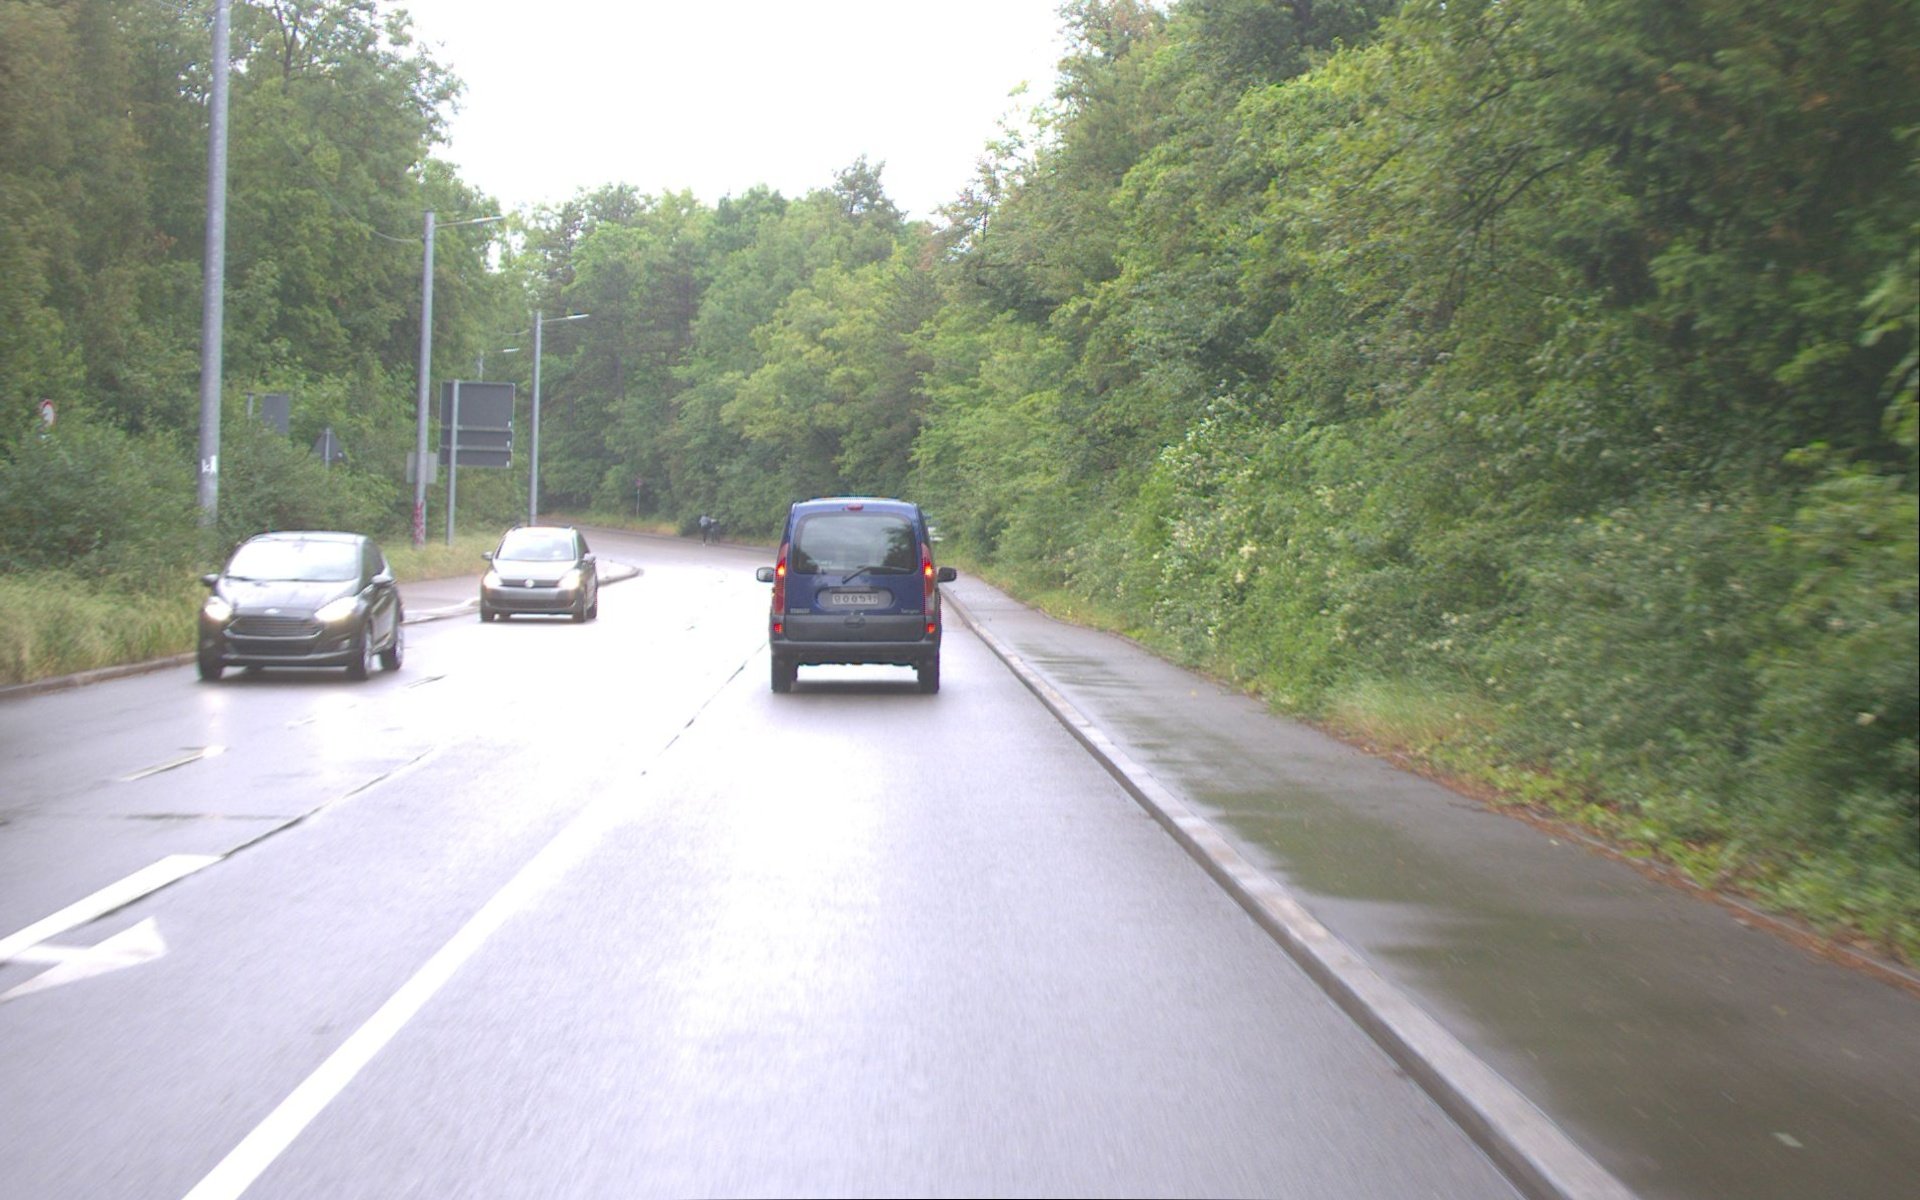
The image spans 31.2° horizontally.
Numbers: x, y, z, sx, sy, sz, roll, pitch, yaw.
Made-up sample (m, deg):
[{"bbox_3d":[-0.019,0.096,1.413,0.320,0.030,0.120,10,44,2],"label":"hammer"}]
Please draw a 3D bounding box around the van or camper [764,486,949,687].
[{"bbox_3d":[-1.023,-0.189,33.851,1.712,1.819,4.001,0,2,-2],"label":"van or camper"}]

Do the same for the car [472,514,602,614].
[{"bbox_3d":[-7.198,-0.641,58.780,1.771,1.605,4.084,1,1,-1],"label":"car"}]

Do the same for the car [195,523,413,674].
[{"bbox_3d":[-6.645,-0.060,35.160,1.598,1.436,3.991,0,1,-2],"label":"car"}]
